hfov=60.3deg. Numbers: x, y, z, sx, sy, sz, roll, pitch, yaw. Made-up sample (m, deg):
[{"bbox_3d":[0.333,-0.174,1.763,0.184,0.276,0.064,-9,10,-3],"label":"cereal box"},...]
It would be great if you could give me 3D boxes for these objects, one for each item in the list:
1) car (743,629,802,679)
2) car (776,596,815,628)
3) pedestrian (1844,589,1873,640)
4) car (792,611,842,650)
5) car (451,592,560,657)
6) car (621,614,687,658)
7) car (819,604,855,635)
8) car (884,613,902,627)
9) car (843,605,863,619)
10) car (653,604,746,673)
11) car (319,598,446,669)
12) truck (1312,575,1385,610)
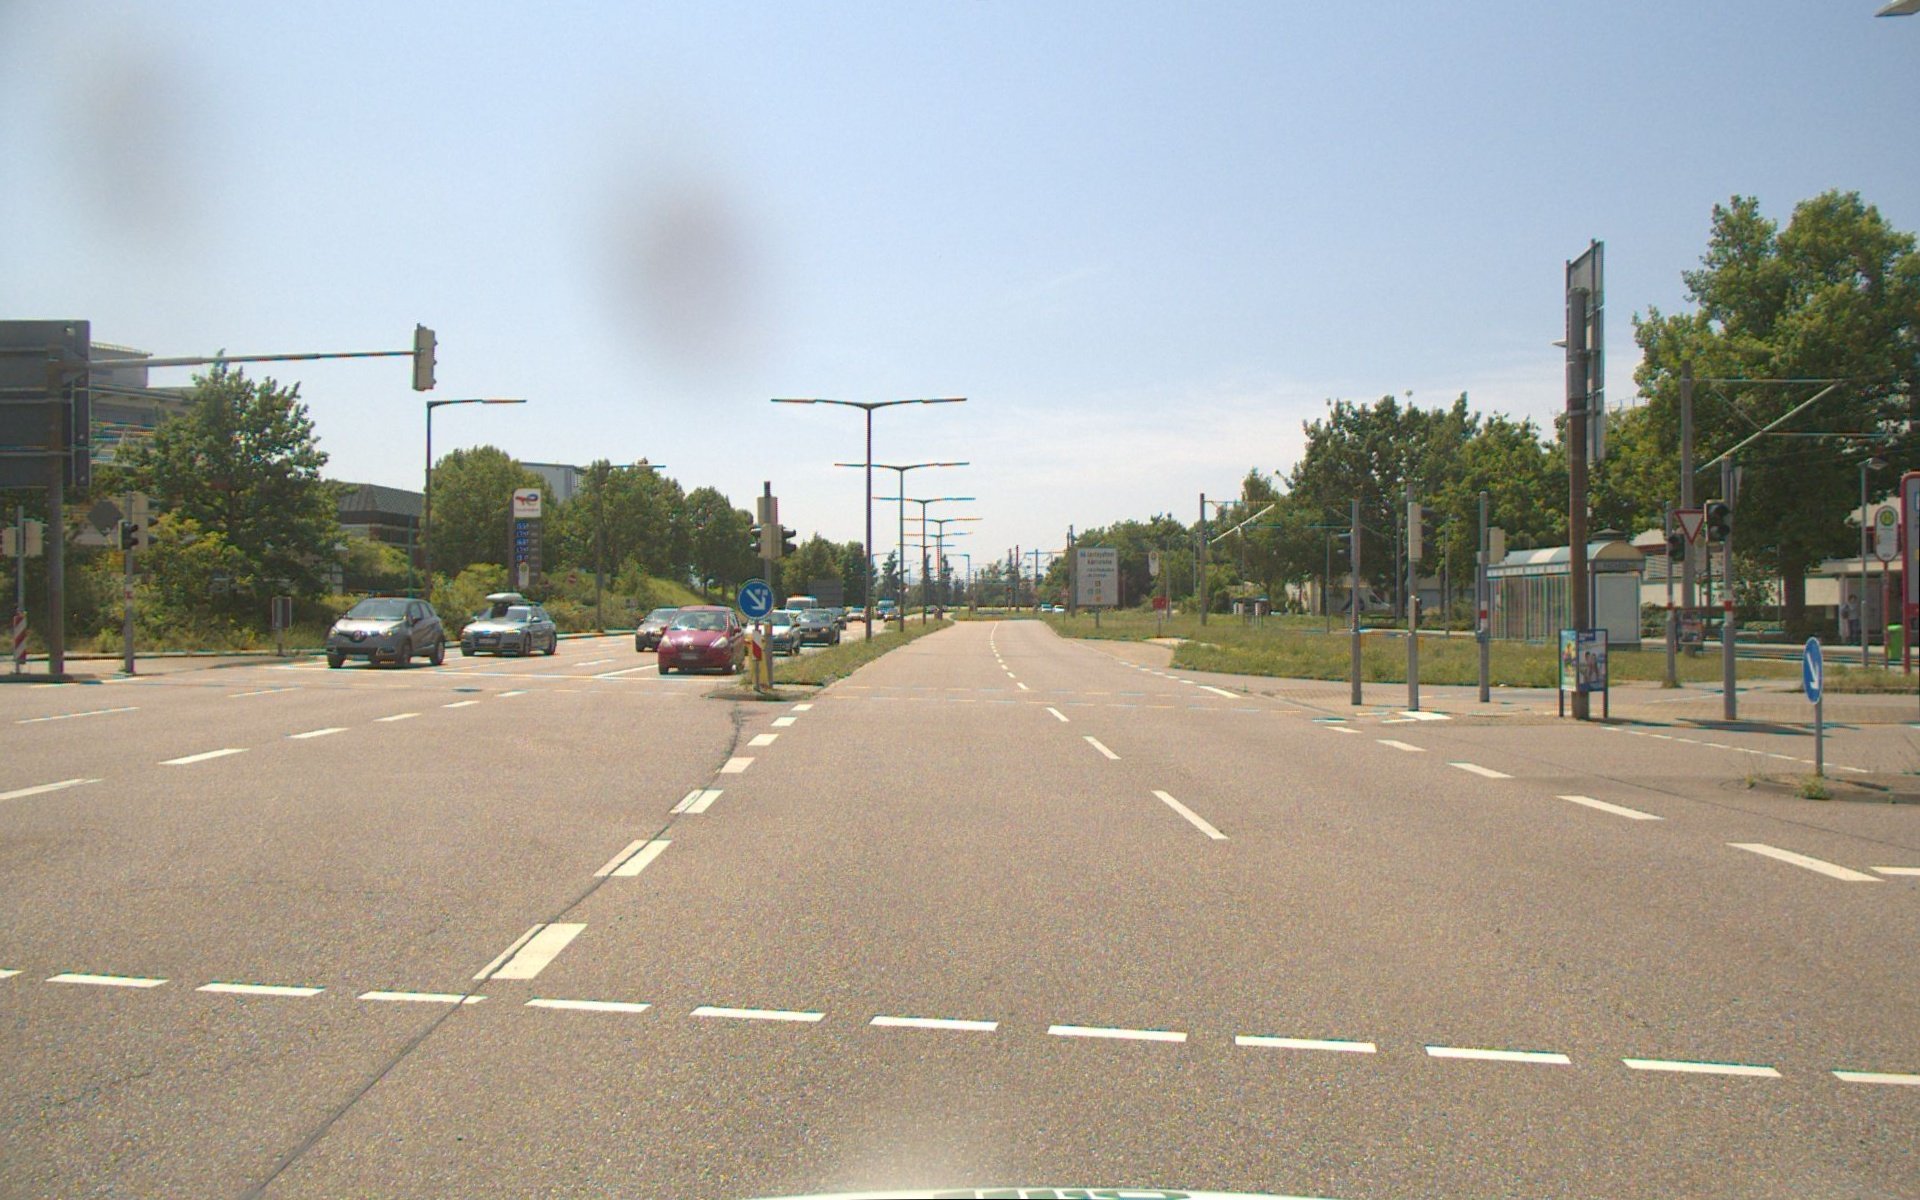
[{"bbox_3d":[-5.975,1.695,53.106,1.529,1.448,3.853,1,0,-2],"label":"car"},{"bbox_3d":[-12.194,0.892,122.768,2.203,2.313,5.449,1,-1,1],"label":"car"},{"bbox_3d":[28.820,0.470,53.045,0.540,1.636,0.690,1,-1,1],"label":"pedestrian"},{"bbox_3d":[-5.595,1.169,65.124,1.642,1.459,4.190,1,0,-1],"label":"car"},{"bbox_3d":[-13.196,0.683,48.334,1.925,1.781,5.020,0,0,-1],"label":"car"},{"bbox_3d":[-10.331,1.188,55.999,1.564,1.409,4.002,1,0,-1],"label":"car"},{"bbox_3d":[-8.442,1.339,113.965,1.952,2.049,4.001,1,-1,3],"label":"car"},{"bbox_3d":[-7.332,2.147,181.024,1.695,1.483,4.565,0,0,1],"label":"car"},{"bbox_3d":[-11.165,1.248,172.717,1.793,1.474,4.850,0,0,-1],"label":"car"},{"bbox_3d":[-5.998,0.848,38.450,1.625,1.516,3.999,0,0,-1],"label":"car"},{"bbox_3d":[-13.373,0.741,38.542,1.625,1.566,3.999,0,0,-1],"label":"car"},{"bbox_3d":[34.232,-0.658,145.672,5.730,2.893,2.316,-2,-1,-7],"label":"truck"}]
